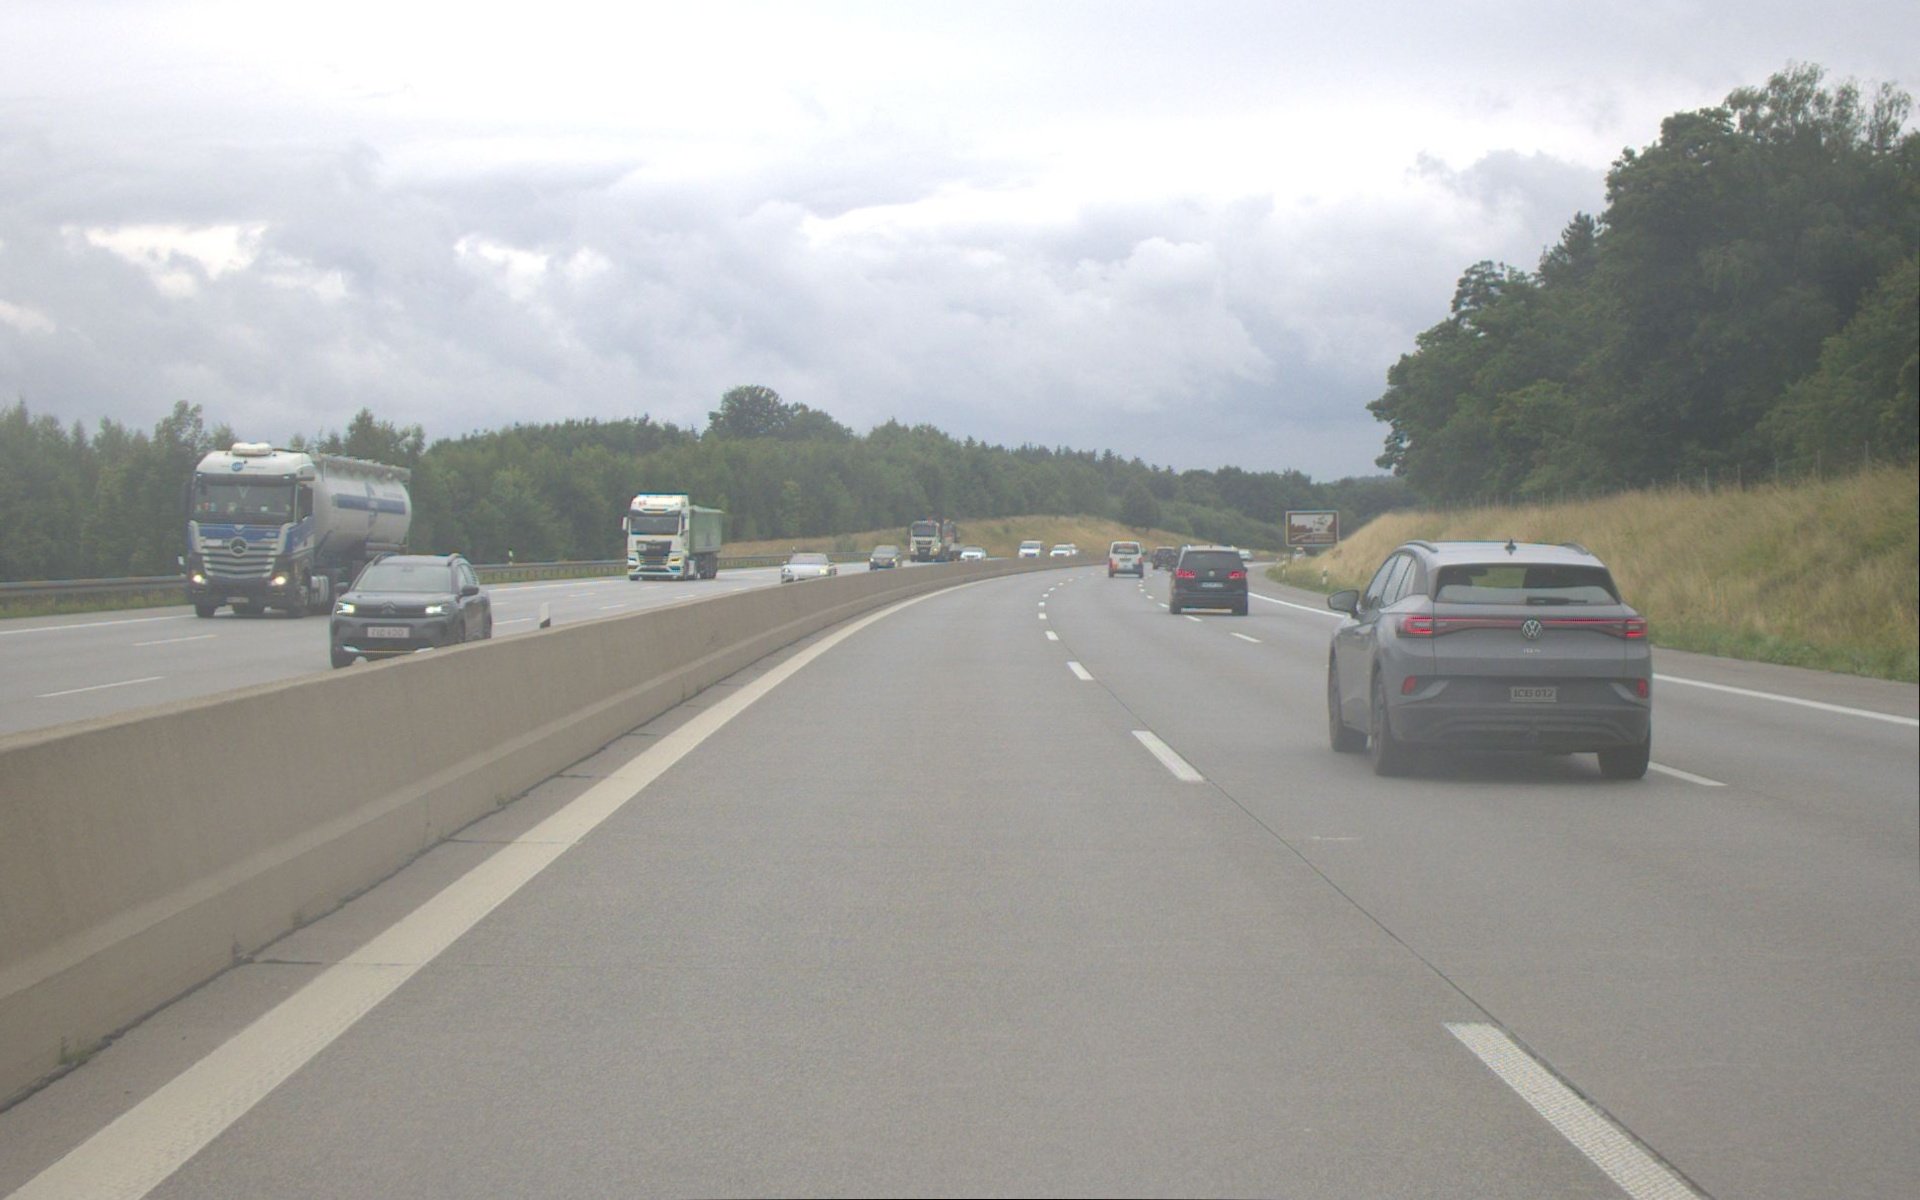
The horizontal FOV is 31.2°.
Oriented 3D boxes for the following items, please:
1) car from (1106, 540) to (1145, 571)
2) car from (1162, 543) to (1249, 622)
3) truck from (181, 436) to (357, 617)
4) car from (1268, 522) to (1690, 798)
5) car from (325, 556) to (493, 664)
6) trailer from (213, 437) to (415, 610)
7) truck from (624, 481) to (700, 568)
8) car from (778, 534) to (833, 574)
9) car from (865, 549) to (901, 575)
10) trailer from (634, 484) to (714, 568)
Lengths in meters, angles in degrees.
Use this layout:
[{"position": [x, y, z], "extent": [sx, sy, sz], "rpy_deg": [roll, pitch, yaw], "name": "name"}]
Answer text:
[{"position": [9.015, -2.404, 186.983], "extent": [1.841, 1.495, 4.000], "rpy_deg": [-2, 2, 6], "name": "car"}, {"position": [6.023, -0.452, 84.814], "extent": [1.785, 1.741, 3.915], "rpy_deg": [-2, 2, 0], "name": "car"}, {"position": [-15.968, -1.764, 79.836], "extent": [2.746, 3.985, 6.931], "rpy_deg": [1, 2, -1], "name": "truck"}, {"position": [3.579, 0.331, 24.767], "extent": [1.897, 1.684, 5.267], "rpy_deg": [1, 2, -4], "name": "car"}, {"position": [-7.991, 0.110, 50.182], "extent": [1.792, 1.412, 4.343], "rpy_deg": [0, 2, -1], "name": "car"}, {"position": [-16.002, -2.012, 86.105], "extent": [2.758, 3.984, 12.291], "rpy_deg": [1, 2, 0], "name": "trailer"}, {"position": [-13.435, -3.376, 155.243], "extent": [2.750, 3.789, 5.530], "rpy_deg": [1, 0, 2], "name": "truck"}, {"position": [-6.326, -1.906, 140.941], "extent": [1.993, 1.436, 4.768], "rpy_deg": [2, 2, 0], "name": "car"}, {"position": [-4.868, -2.415, 218.083], "extent": [1.993, 1.584, 4.771], "rpy_deg": [1, 1, 2], "name": "car"}, {"position": [-13.308, -3.444, 160.415], "extent": [2.749, 3.787, 9.316], "rpy_deg": [1, 1, 1], "name": "trailer"}]
